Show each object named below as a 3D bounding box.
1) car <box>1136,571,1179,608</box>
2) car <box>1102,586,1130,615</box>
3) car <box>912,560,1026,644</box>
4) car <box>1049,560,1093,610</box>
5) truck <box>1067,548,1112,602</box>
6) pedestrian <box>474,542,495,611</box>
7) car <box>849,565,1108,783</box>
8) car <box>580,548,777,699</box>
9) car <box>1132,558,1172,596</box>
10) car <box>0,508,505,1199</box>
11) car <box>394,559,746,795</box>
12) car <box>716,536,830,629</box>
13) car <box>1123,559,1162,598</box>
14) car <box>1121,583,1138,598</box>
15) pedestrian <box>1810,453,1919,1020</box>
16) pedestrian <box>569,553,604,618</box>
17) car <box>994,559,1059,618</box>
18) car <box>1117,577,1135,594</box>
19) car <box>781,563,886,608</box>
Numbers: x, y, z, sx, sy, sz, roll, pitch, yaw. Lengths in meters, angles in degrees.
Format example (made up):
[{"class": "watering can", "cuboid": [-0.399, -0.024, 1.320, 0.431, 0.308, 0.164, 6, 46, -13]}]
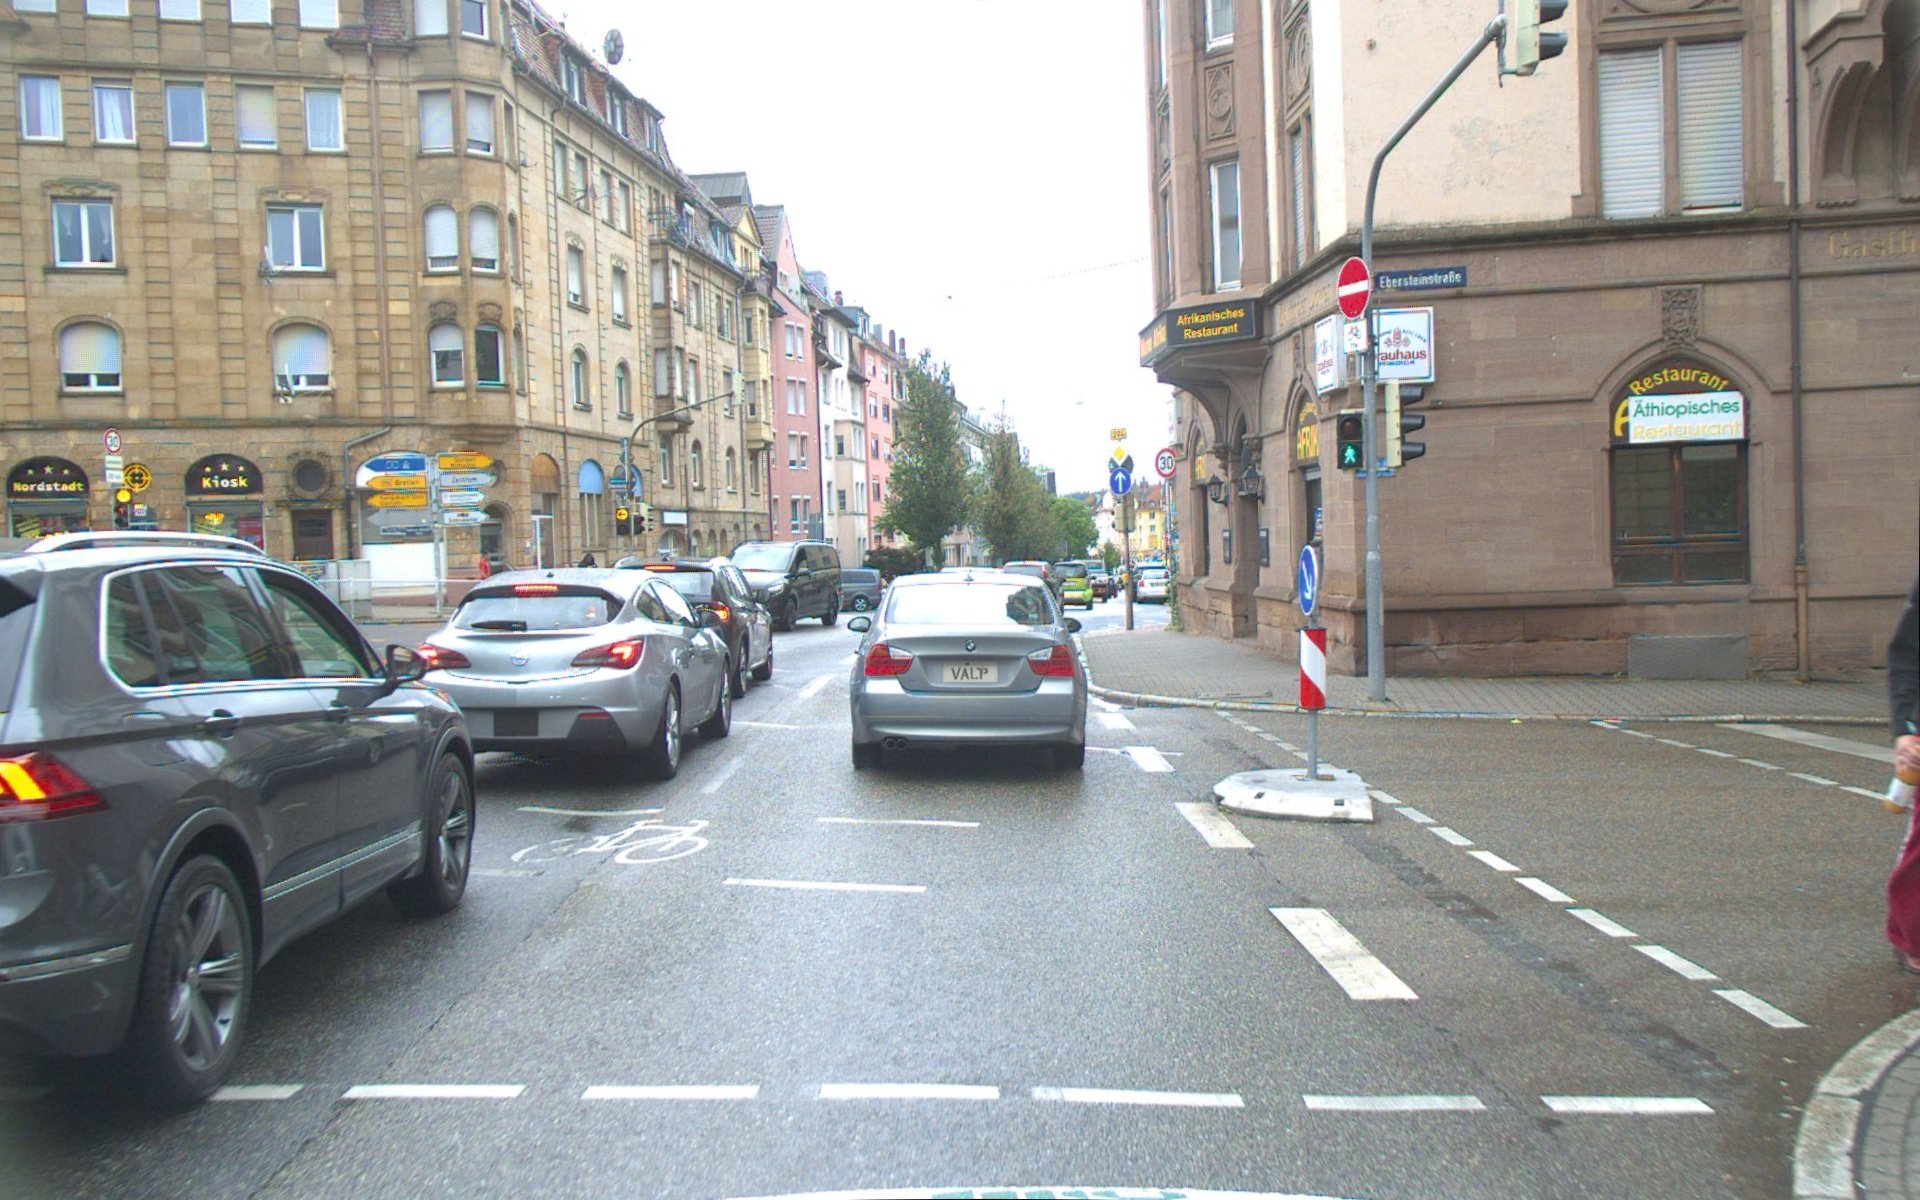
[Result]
[{"class": "car", "cuboid": [8.770, -0.484, 73.704, 1.761, 1.592, 4.496, 0, 0, 5]}, {"class": "car", "cuboid": [10.405, 0.051, 109.887, 1.740, 1.829, 4.002, 1, -1, 6]}, {"class": "car", "cuboid": [0.229, 0.033, 30.862, 1.646, 1.453, 3.744, 0, 0, 8]}, {"class": "car", "cuboid": [3.673, -0.481, 55.180, 1.418, 1.593, 3.334, 0, 0, 3]}, {"class": "truck", "cuboid": [6.102, -1.119, 77.645, 1.989, 2.455, 4.830, 0, 0, 6]}, {"class": "pedestrian", "cuboid": [-12.615, -0.631, 43.905, 0.514, 1.805, 0.690, 0, 1, -18]}, {"class": "car", "cuboid": [0.063, 0.469, 12.933, 1.734, 1.453, 3.739, 0, 1, -2]}, {"class": "car", "cuboid": [-3.164, 0.244, 19.336, 1.717, 1.562, 4.213, 0, 0, -2]}, {"class": "car", "cuboid": [9.191, -1.071, 79.061, 1.839, 1.762, 4.680, 0, 0, 6]}, {"class": "car", "cuboid": [-2.993, 0.551, 5.846, 1.717, 1.673, 4.212, 0, 2, -2]}, {"class": "car", "cuboid": [-2.807, 0.462, 12.851, 1.716, 1.509, 4.181, -1, 1, 0]}, {"class": "car", "cuboid": [-4.043, -0.385, 36.372, 1.705, 1.878, 4.149, -2, 0, 4]}, {"class": "car", "cuboid": [9.417, -1.083, 85.236, 1.879, 1.859, 5.013, -3, 0, 6]}, {"class": "car", "cuboid": [19.832, -1.153, 193.529, 1.839, 1.762, 4.444, 0, 1, 6]}, {"class": "pedestrian", "cuboid": [3.736, 0.466, 6.119, 0.683, 1.983, 1.091, 0, 2, 6]}, {"class": "pedestrian", "cuboid": [-10.048, -0.382, 44.521, 0.815, 1.732, 0.634, 0, 1, -23]}, {"class": "car", "cuboid": [1.784, -0.287, 43.951, 1.662, 1.509, 3.795, 0, 0, 3]}, {"class": "car", "cuboid": [17.401, -1.492, 173.520, 1.839, 1.762, 4.680, 0, 1, 6]}, {"class": "car", "cuboid": [-5.610, -0.666, 73.690, 4.581, 1.972, 1.862, 0, 1, -3]}]
